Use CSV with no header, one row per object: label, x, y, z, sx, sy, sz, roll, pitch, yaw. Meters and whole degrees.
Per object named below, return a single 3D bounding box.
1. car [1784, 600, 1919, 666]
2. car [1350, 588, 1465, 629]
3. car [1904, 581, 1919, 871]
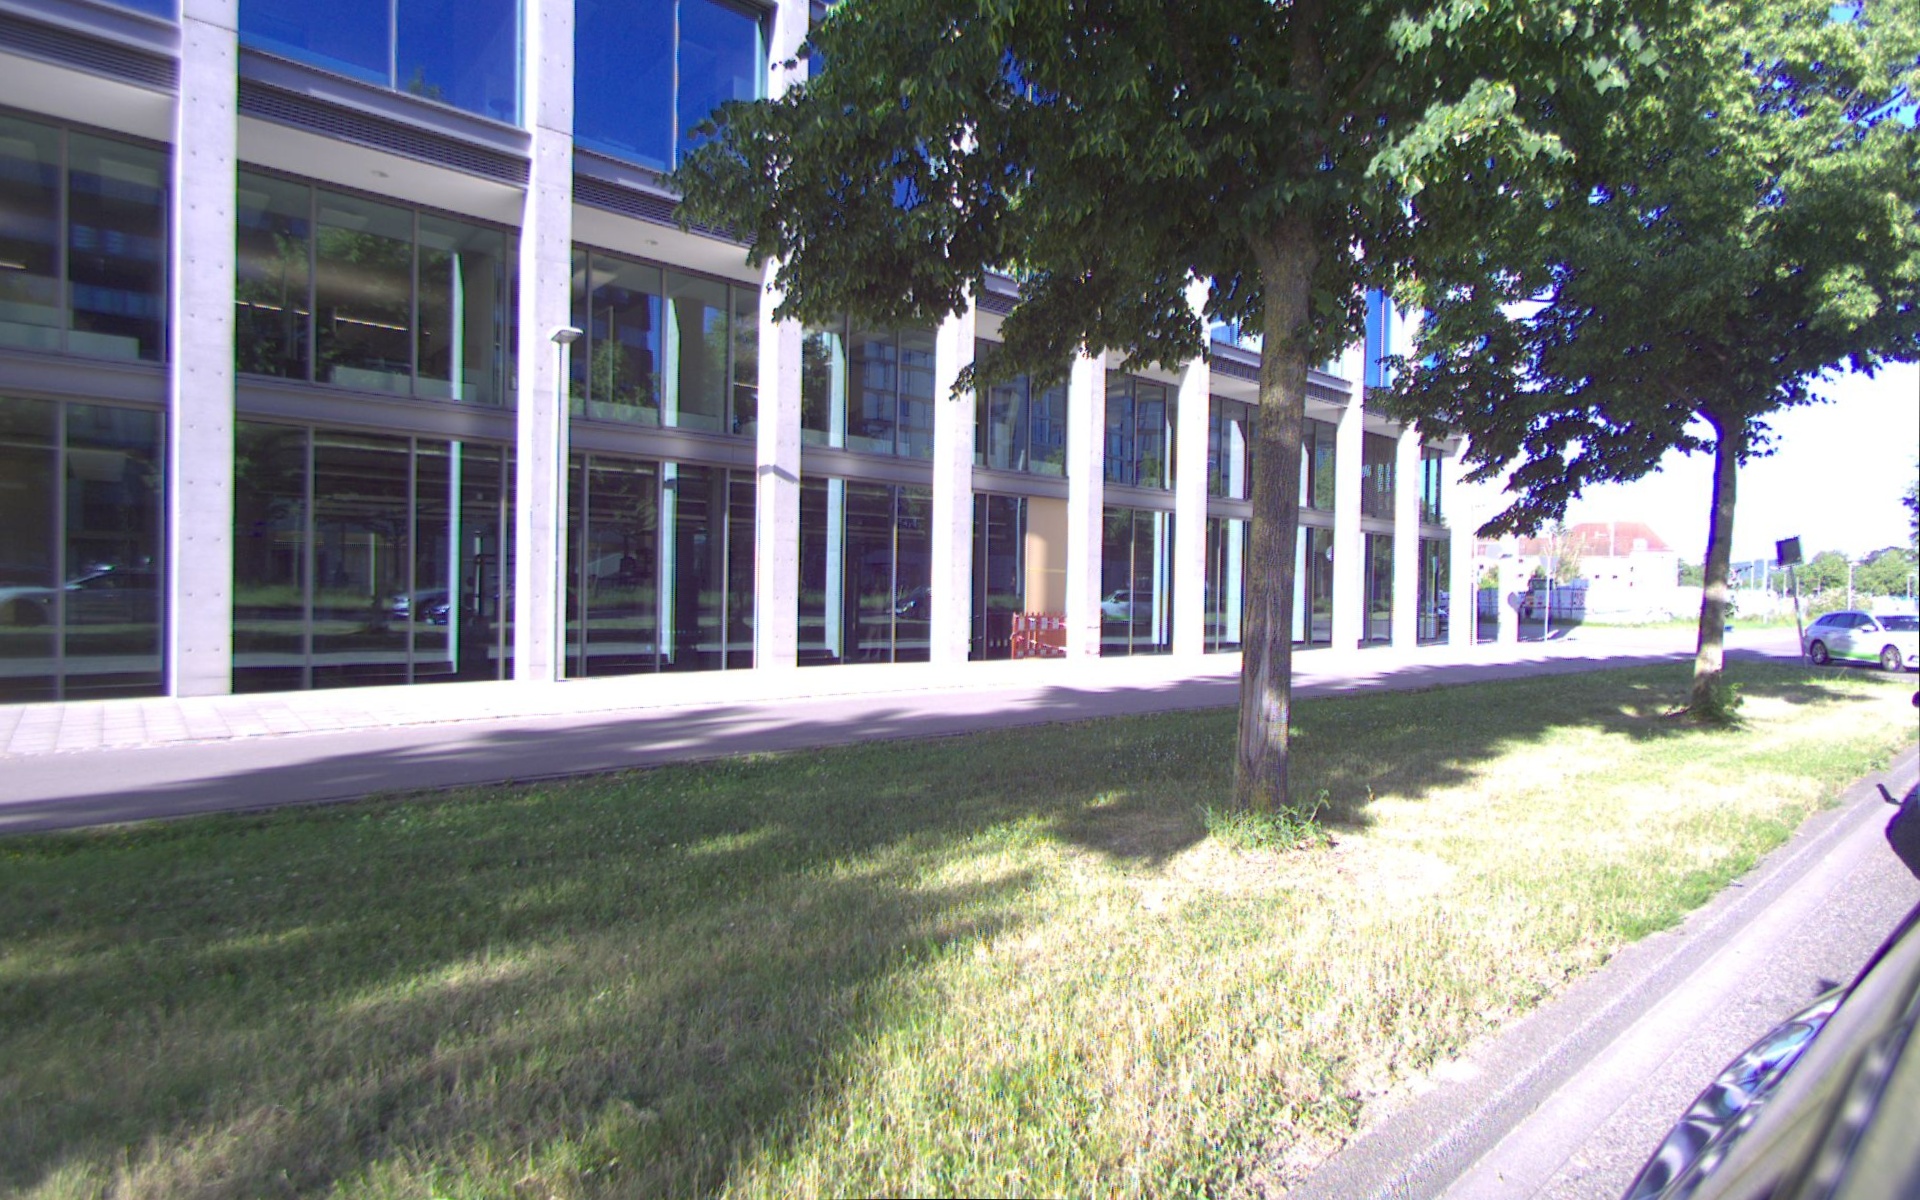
car,23.238,0.773,25.502,1.776,1.465,4.556,1,1,10
car,18.955,0.344,43.008,1.963,1.598,3.997,0,1,-38
car,7.190,0.666,6.024,4.403,1.500,1.845,0,1,-41
